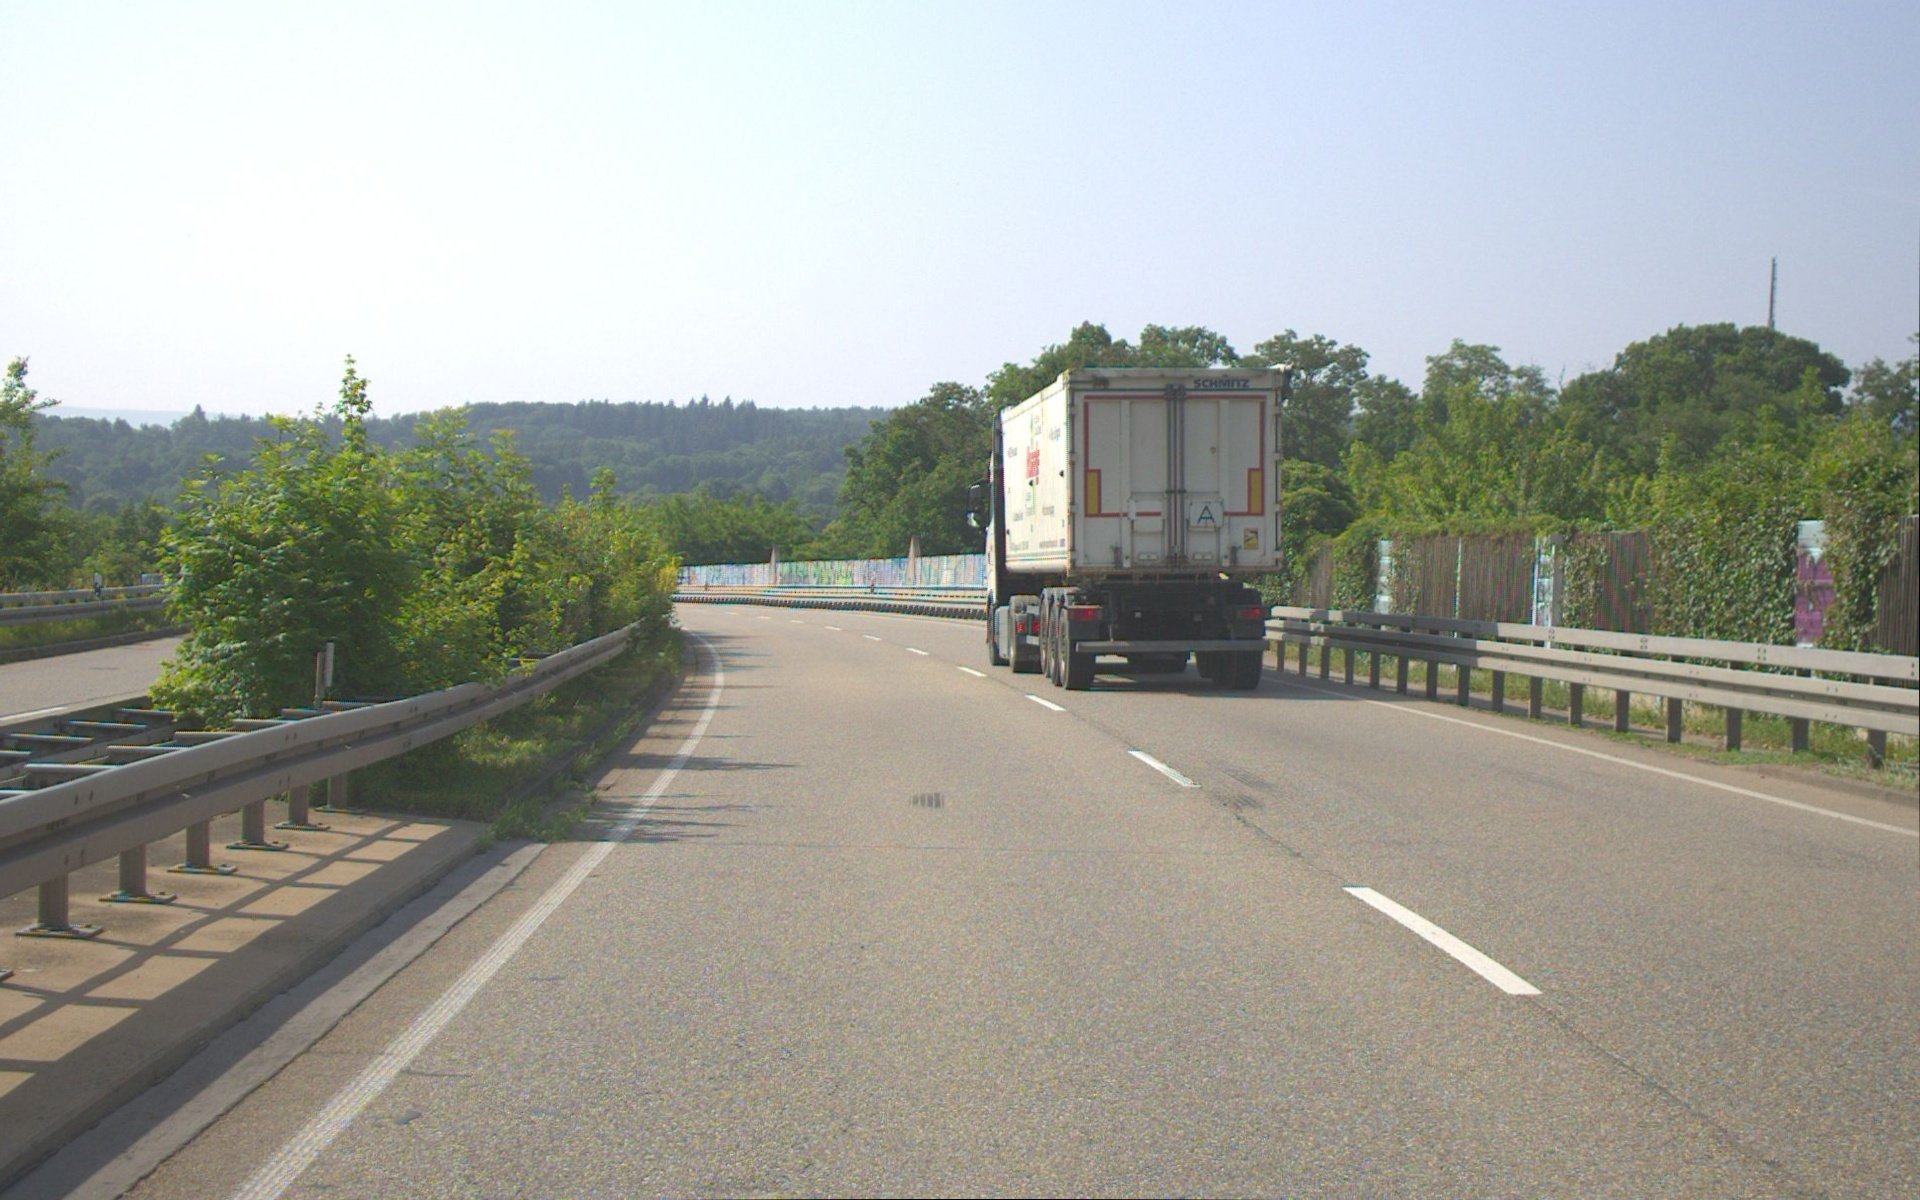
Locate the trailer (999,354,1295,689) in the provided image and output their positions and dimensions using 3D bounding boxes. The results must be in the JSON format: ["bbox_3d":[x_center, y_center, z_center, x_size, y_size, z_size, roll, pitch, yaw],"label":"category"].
[{"bbox_3d":[2.245,-0.990,45.034,2.679,3.894,9.674,0,1,-4],"label":"trailer"}]

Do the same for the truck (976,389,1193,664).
[{"bbox_3d":[1.790,-1.100,51.772,2.658,3.883,5.649,1,1,-4],"label":"truck"}]
